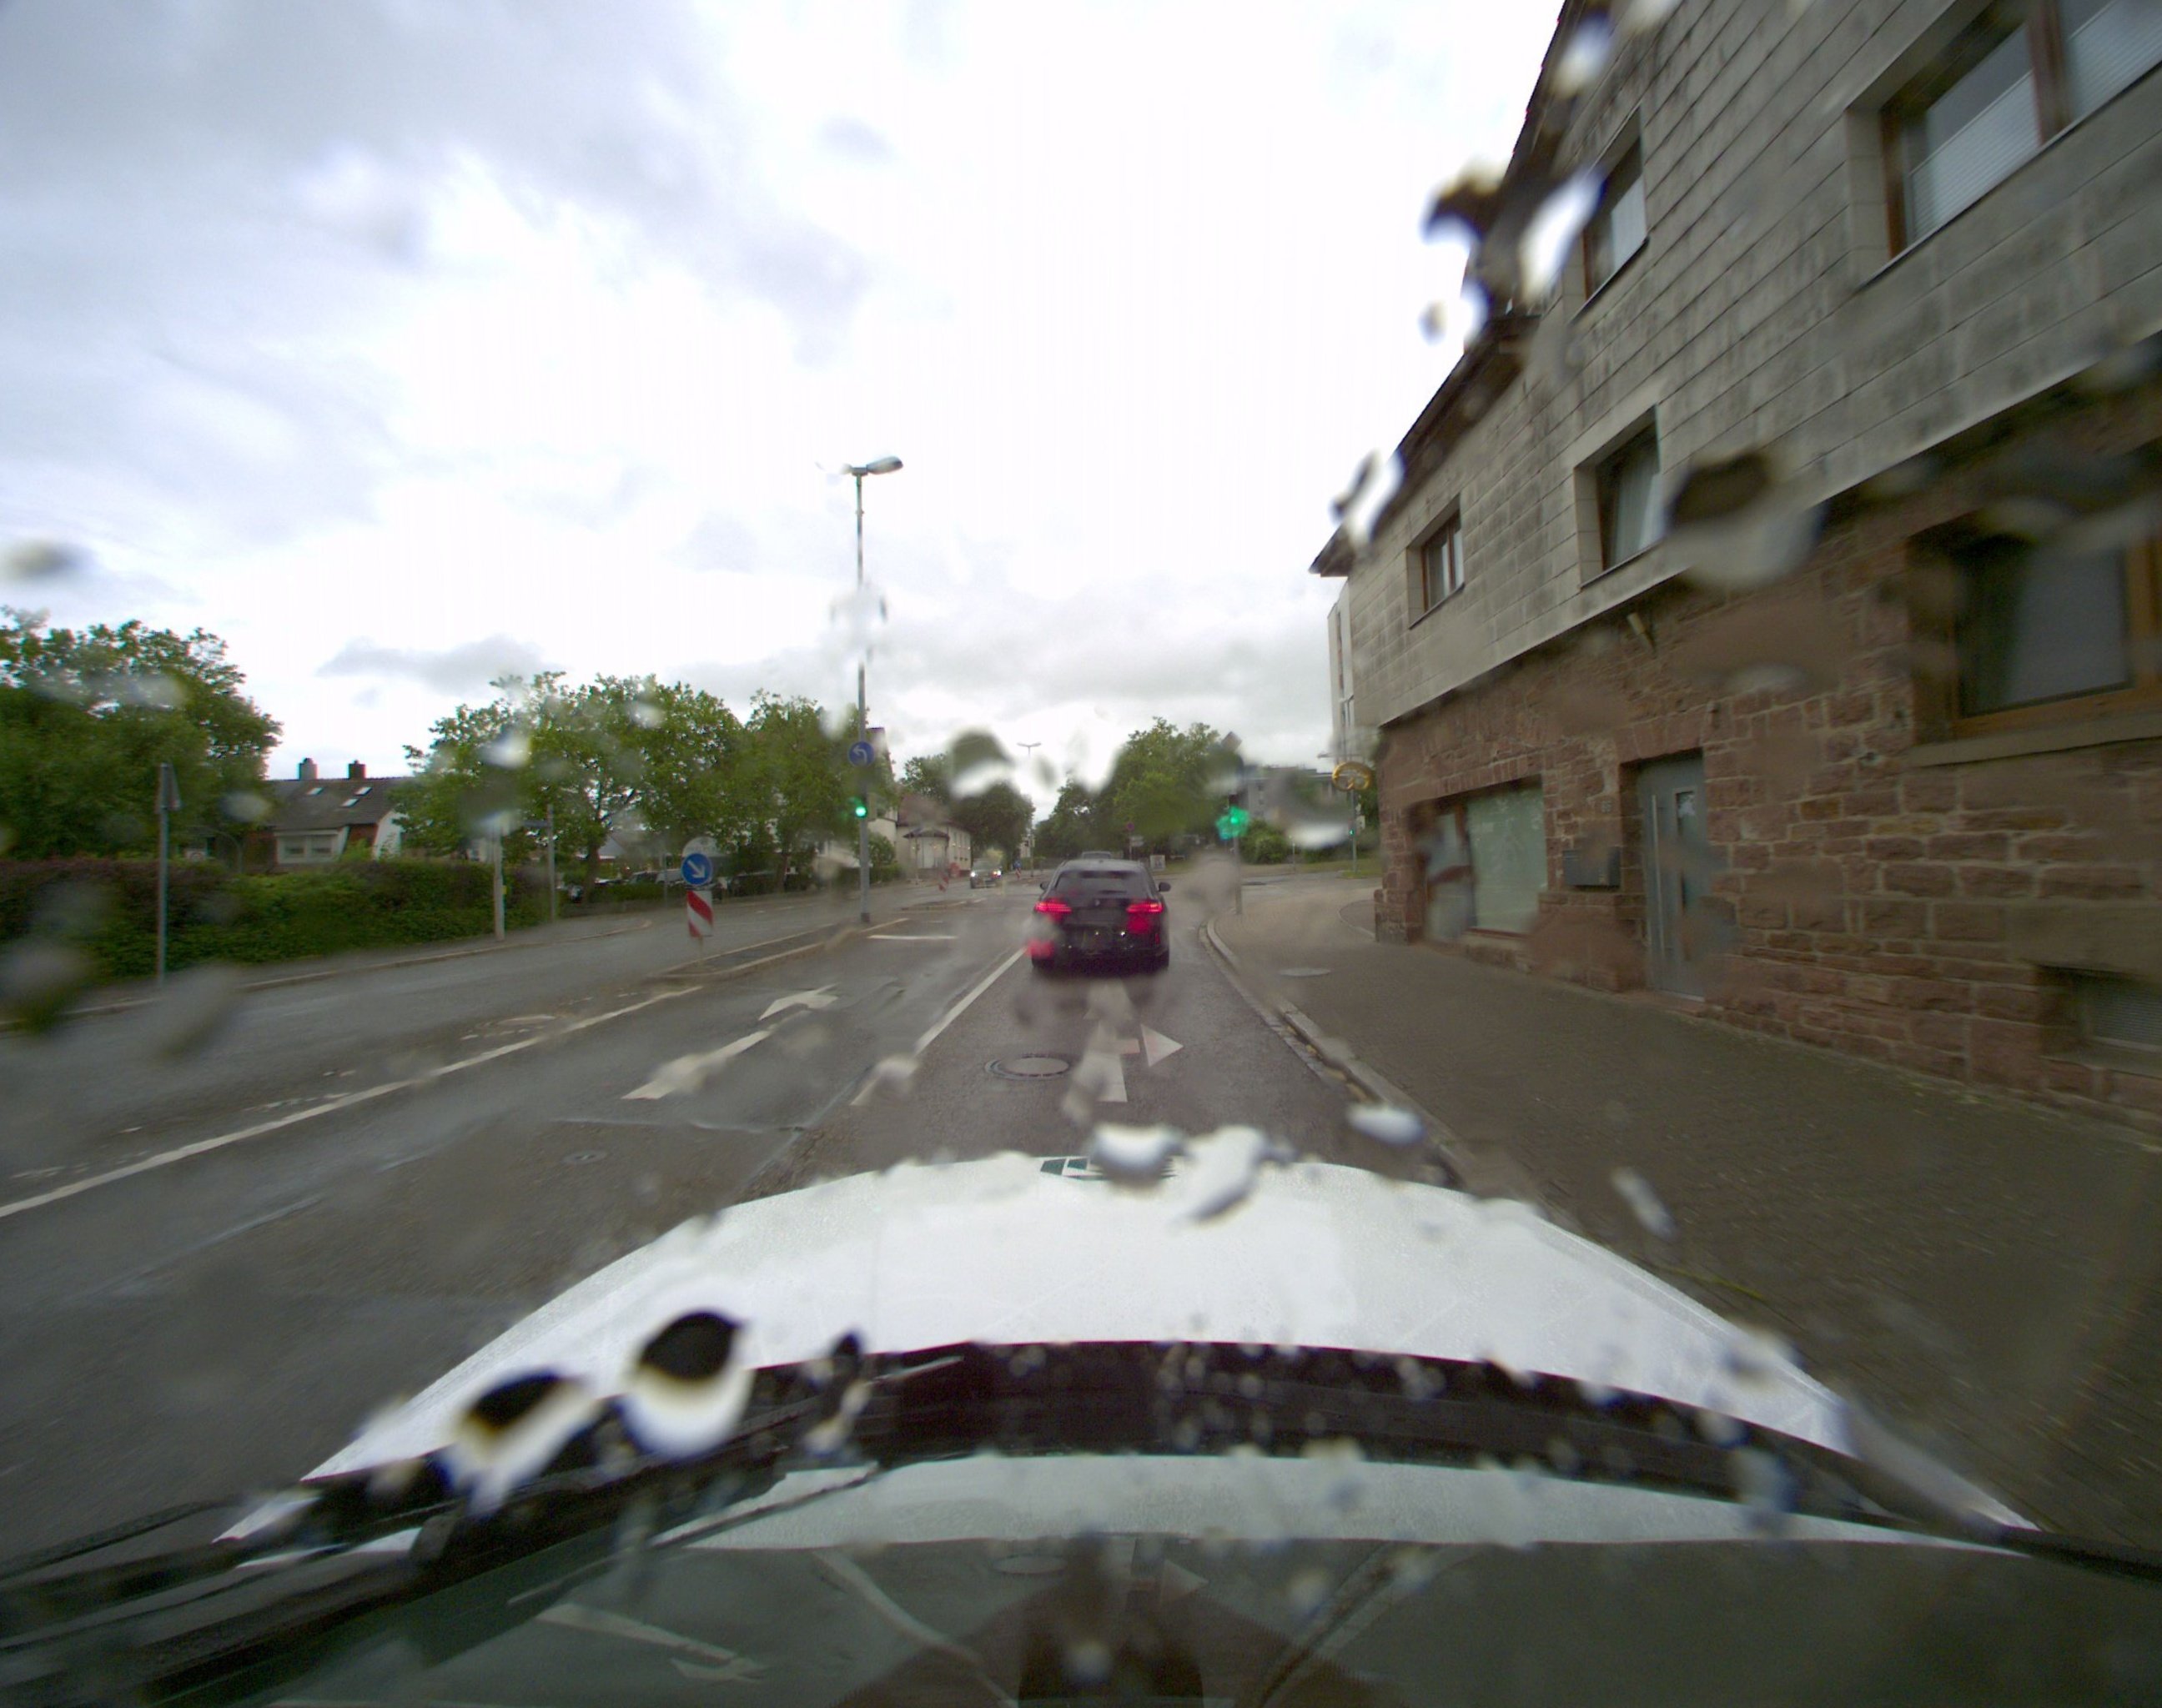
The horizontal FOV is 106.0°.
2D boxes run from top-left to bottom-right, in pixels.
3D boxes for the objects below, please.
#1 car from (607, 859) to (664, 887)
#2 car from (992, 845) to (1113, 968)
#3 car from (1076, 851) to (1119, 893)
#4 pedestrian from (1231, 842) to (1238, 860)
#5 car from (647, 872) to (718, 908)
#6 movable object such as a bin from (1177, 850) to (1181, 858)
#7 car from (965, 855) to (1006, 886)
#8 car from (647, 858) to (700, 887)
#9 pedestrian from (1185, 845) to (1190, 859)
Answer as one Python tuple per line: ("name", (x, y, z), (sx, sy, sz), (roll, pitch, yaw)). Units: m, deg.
("car", (-32.571, 1.379, 59.675), (1.988, 2.014, 3.996), (0, -1, -2))
("car", (-0.381, 0.681, 12.000), (1.519, 1.534, 3.530), (0, -1, -1))
("car", (0.687, 0.783, 36.636), (1.807, 1.809, 3.754), (0, -1, -1))
("pedestrian", (13.706, -0.257, 72.931), (0.597, 1.617, 0.527), (0, -1, 8))
("car", (-21.313, 1.901, 43.747), (1.803, 1.551, 4.001), (0, 3, 0))
("movable object such as a bin", (12.130, 0.001, 101.039), (0.446, 0.906, 0.465), (0, -1, 17))
("car", (-5.445, 0.901, 46.971), (1.893, 1.577, 4.500), (-2, 0, -1))
("car", (-29.846, 1.331, 59.819), (1.988, 2.014, 3.996), (0, -1, -2))
("pedestrian", (13.717, -0.276, 104.930), (0.556, 1.763, 0.727), (0, -1, -3))
